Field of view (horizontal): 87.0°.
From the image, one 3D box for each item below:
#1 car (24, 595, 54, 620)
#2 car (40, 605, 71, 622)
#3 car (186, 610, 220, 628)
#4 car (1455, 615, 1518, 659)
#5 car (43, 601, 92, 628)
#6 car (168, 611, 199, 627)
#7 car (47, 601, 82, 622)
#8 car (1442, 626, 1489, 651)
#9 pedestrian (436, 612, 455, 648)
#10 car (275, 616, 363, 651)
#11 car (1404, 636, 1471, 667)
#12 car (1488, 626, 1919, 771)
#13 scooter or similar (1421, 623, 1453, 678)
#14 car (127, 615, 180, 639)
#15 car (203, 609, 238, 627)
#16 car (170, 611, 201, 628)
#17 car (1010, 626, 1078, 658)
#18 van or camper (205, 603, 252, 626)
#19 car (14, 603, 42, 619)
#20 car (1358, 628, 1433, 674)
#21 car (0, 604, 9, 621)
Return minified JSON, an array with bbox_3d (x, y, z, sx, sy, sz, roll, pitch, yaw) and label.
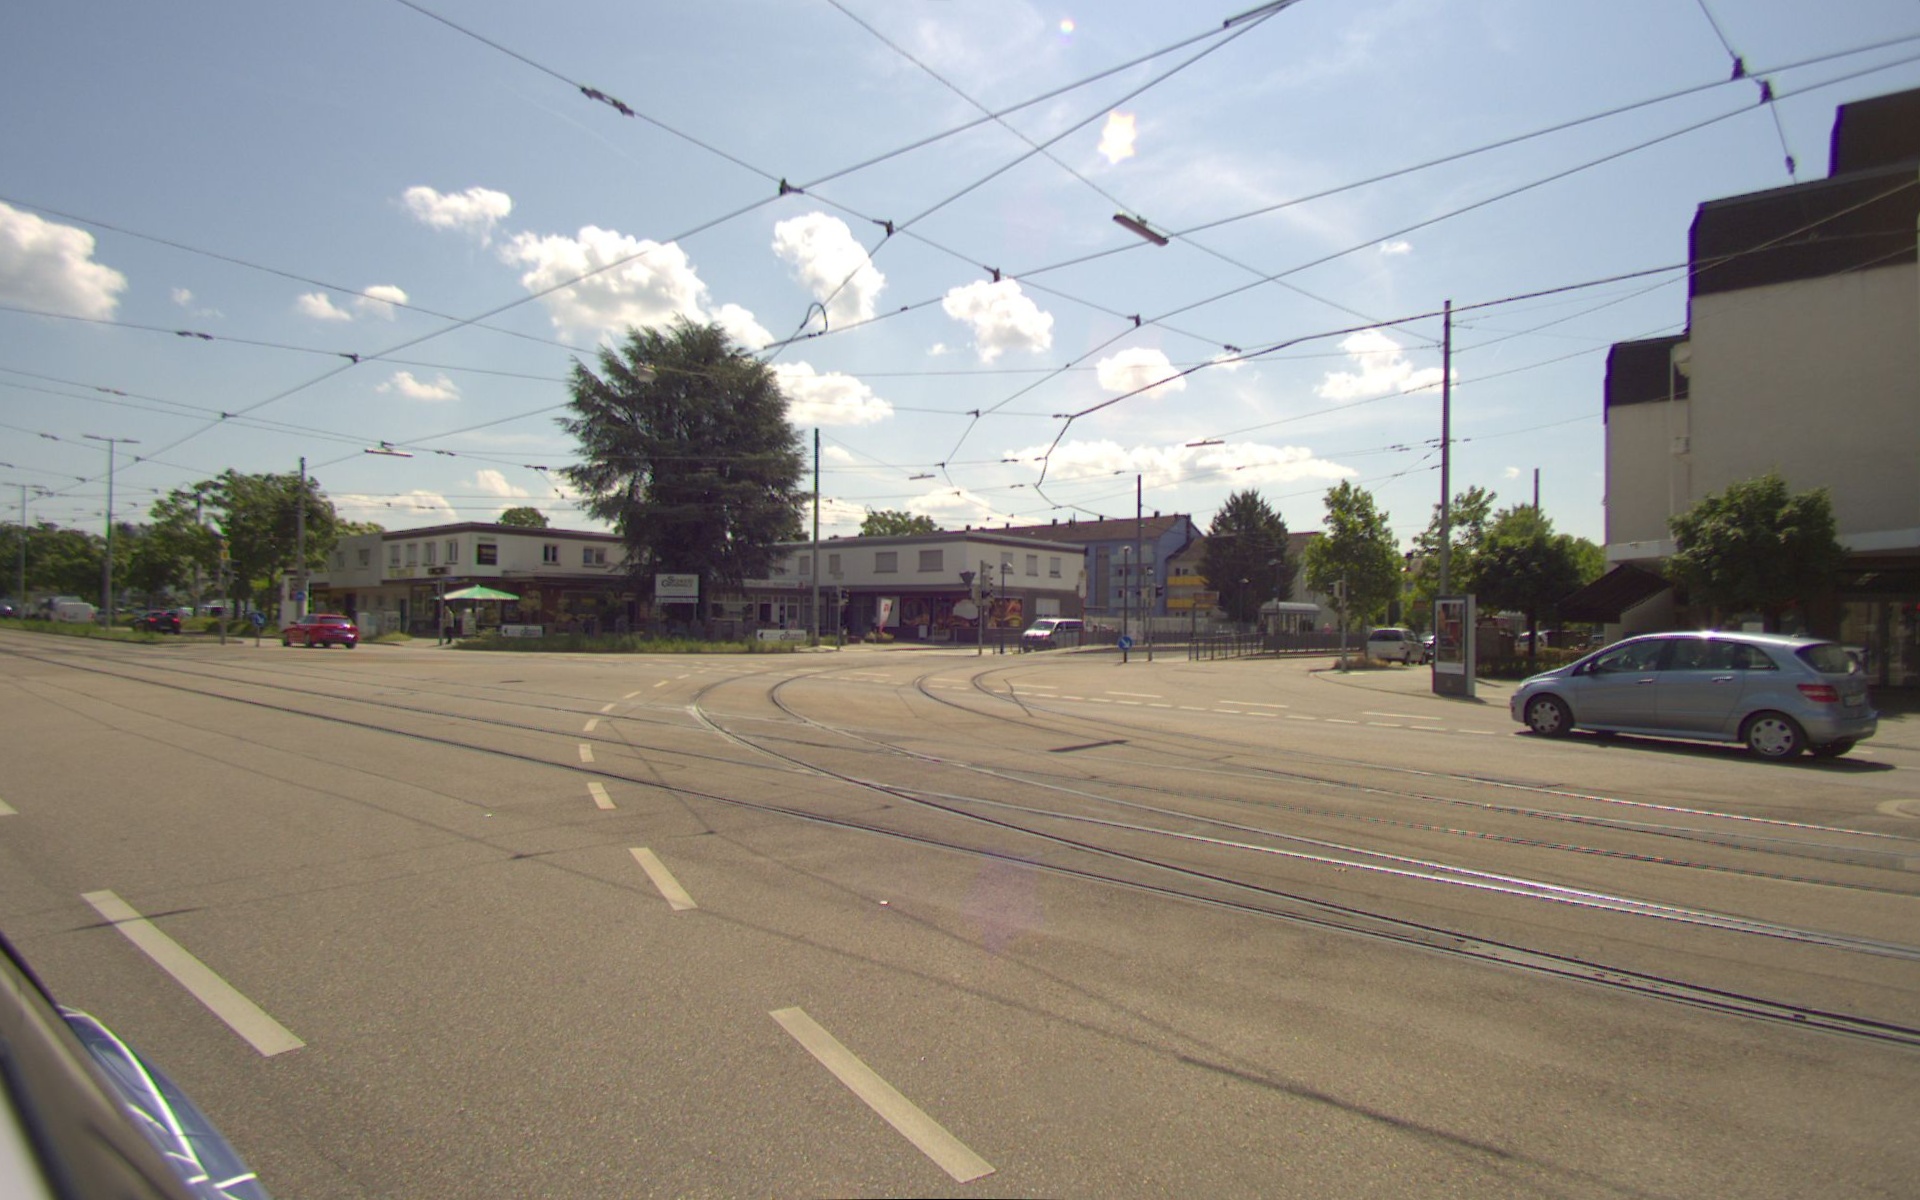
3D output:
[{"bbox_3d":[-99.720,0.865,109.531,3.996,2.608,1.723,-1,-2,39],"label":"car"},{"bbox_3d":[-93.641,1.361,104.731,3.996,1.706,1.723,0,-2,39],"label":"car"},{"bbox_3d":[-75.434,1.887,100.811,3.996,1.706,1.723,0,-2,39],"label":"car"},{"bbox_3d":[29.886,2.117,57.370,2.214,2.356,5.150,-1,-2,39],"label":"car"},{"bbox_3d":[-66.886,1.080,75.850,4.547,1.890,1.841,0,-2,37],"label":"car"},{"bbox_3d":[-84.889,2.094,110.636,3.996,1.706,1.723,0,-2,39],"label":"car"},{"bbox_3d":[-88.656,1.161,100.154,3.996,1.980,1.942,0,-2,39],"label":"car"},{"bbox_3d":[35.159,2.668,70.303,1.997,1.618,4.759,0,-1,38],"label":"car"},{"bbox_3d":[-26.023,1.504,51.180,0.679,1.788,0.485,0,3,21],"label":"pedestrian"},{"bbox_3d":[-28.319,1.468,44.684,4.819,1.461,1.973,-1,-2,41],"label":"car"},{"bbox_3d":[22.813,2.440,48.258,1.997,1.342,4.761,0,-2,37],"label":"car"},{"bbox_3d":[10.016,1.195,13.973,1.711,1.628,4.619,2,-2,-31],"label":"car"},{"bbox_3d":[16.877,1.771,35.793,0.616,1.860,1.988,0,-2,37],"label":"scooter or similar"},{"bbox_3d":[-49.552,1.642,62.171,3.997,1.364,1.761,0,-2,40],"label":"car"},{"bbox_3d":[-71.327,1.705,97.629,3.996,1.706,1.723,0,-2,39],"label":"car"},{"bbox_3d":[-81.419,2.059,106.369,3.996,1.706,1.723,0,-2,39],"label":"car"},{"bbox_3d":[4.809,2.365,57.671,1.998,1.741,3.947,-1,-2,39],"label":"car"},{"bbox_3d":[-105.389,2.087,145.821,2.245,3.141,5.093,0,-2,40],"label":"van or camper"},{"bbox_3d":[-106.274,1.249,115.353,3.996,1.706,1.723,0,-2,39],"label":"car"},{"bbox_3d":[19.045,2.194,44.140,1.997,1.853,4.761,-1,-2,37],"label":"car"},{"bbox_3d":[-95.009,1.195,99.477,3.996,1.608,1.723,0,-2,39],"label":"car"}]
